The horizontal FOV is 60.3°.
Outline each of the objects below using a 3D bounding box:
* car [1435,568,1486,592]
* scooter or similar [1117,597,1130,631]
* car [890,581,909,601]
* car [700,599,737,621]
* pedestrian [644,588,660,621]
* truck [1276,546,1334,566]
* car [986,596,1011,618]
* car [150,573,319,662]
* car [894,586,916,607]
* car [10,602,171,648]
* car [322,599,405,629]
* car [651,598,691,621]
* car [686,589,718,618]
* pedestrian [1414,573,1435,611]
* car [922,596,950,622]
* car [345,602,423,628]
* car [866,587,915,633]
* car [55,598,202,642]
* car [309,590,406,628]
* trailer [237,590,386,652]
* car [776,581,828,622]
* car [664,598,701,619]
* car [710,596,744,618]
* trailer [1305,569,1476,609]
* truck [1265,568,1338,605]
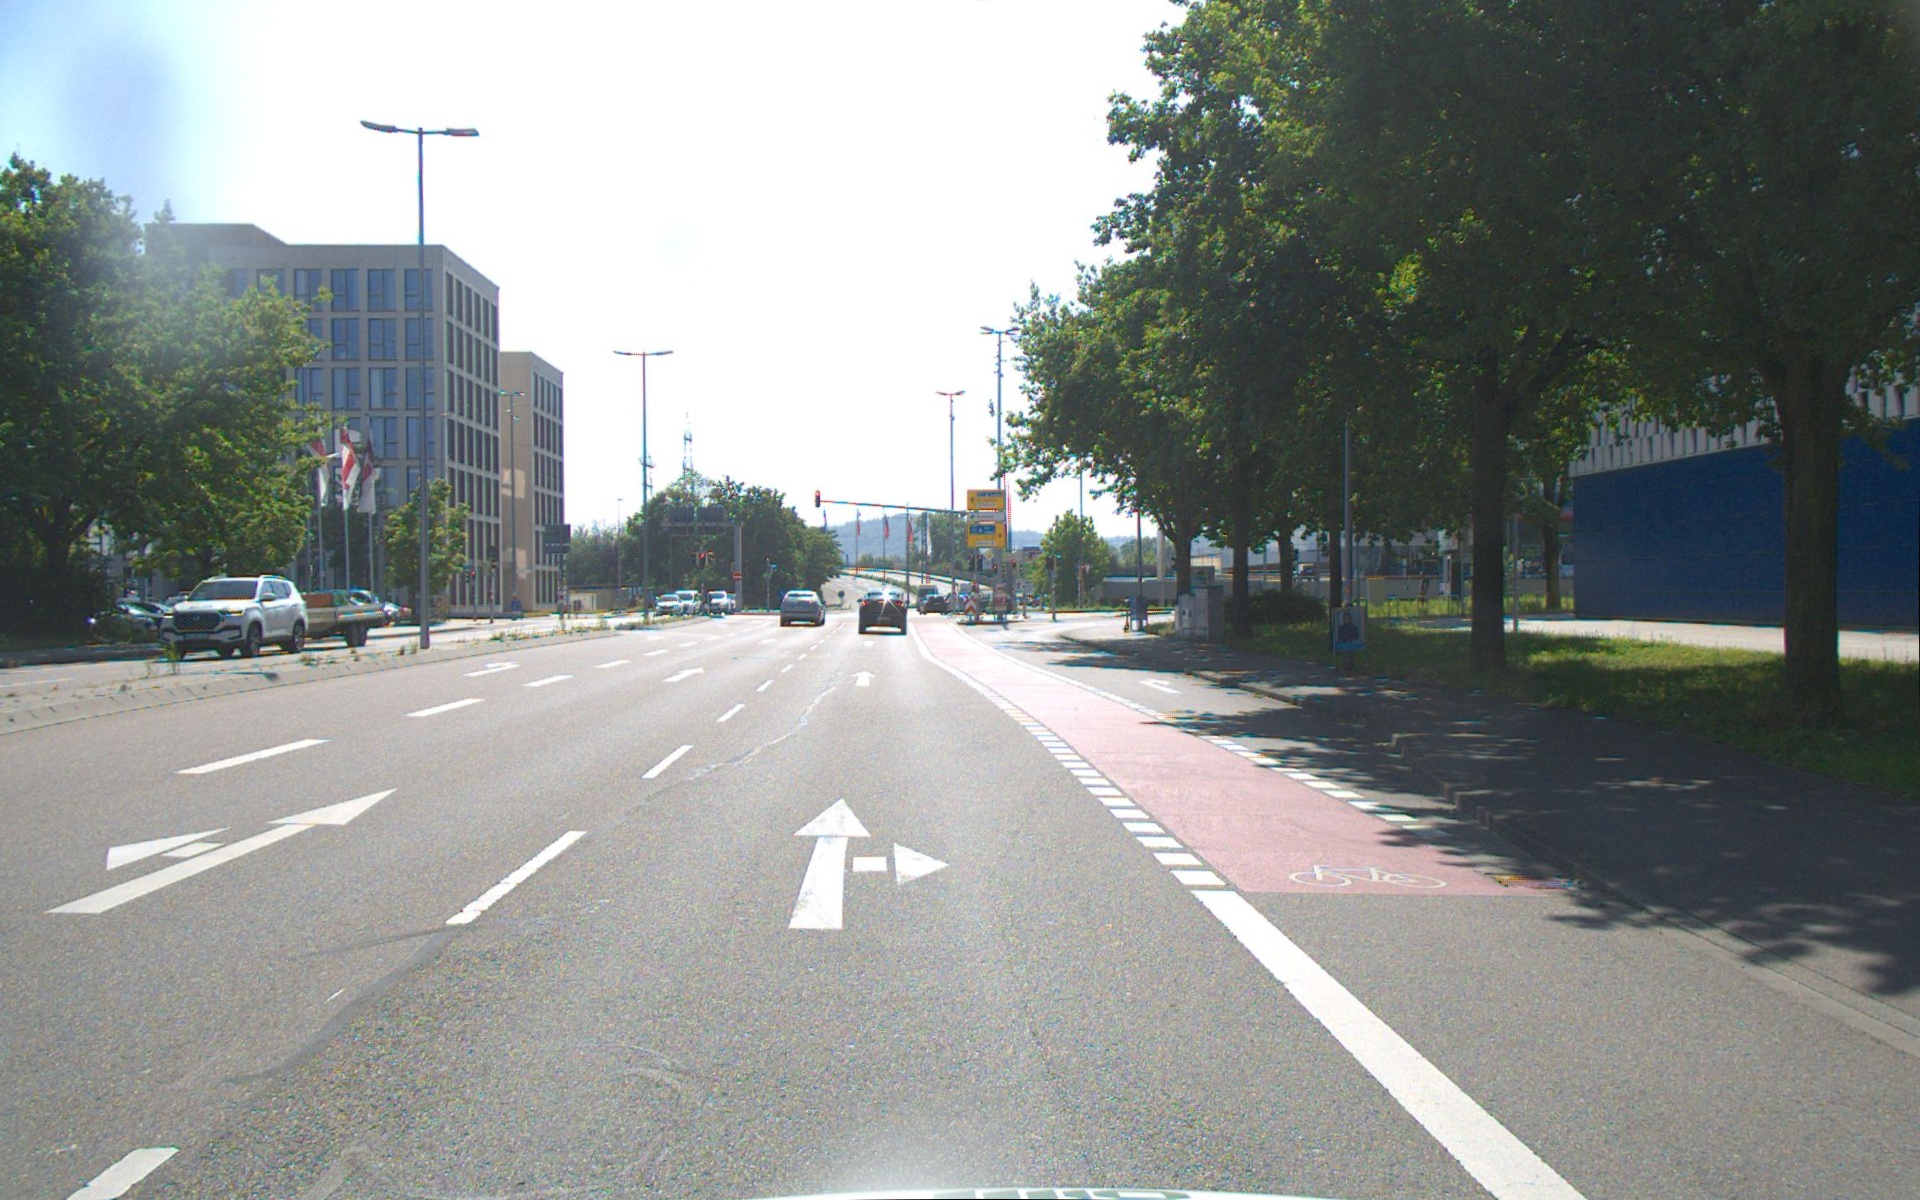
[{"bbox_3d":[45.444,-1.851,150.218,3.908,2.048,1.999,2,1,-4],"label":"car"},{"bbox_3d":[6.285,0.526,63.411,0.343,1.255,1.312,-1,0,11],"label":"scooter or similar"},{"bbox_3d":[-6.691,-1.024,182.570,1.953,2.048,3.980,2,1,-2],"label":"car"},{"bbox_3d":[-16.685,0.672,114.456,1.778,1.489,4.001,-1,0,2],"label":"car"},{"bbox_3d":[-19.775,0.270,106.059,0.747,2.048,0.926,1,1,-27],"label":"pedestrian"},{"bbox_3d":[37.534,-4.769,180.038,5.788,2.048,2.000,2,1,0],"label":"truck"},{"bbox_3d":[2.684,0.469,116.192,1.654,1.382,4.000,2,1,0],"label":"car"},{"bbox_3d":[-16.467,0.362,37.834,1.954,1.864,4.933,-1,0,-4],"label":"car"},{"bbox_3d":[-5.798,-0.410,174.837,1.952,2.048,4.002,2,1,3],"label":"car"},{"bbox_3d":[-27.790,0.793,52.964,4.067,1.366,1.999,-1,0,-3],"label":"car"},{"bbox_3d":[-28.684,0.681,79.579,3.342,1.366,1.645,-1,0,0],"label":"car"},{"bbox_3d":[-19.754,0.622,113.158,1.852,1.489,4.001,-1,0,2],"label":"car"},{"bbox_3d":[-13.005,0.157,83.507,1.190,1.354,2.799,2,1,0],"label":"car"},{"bbox_3d":[22.274,-0.363,79.354,0.616,1.801,0.803,-1,0,-13],"label":"pedestrian"},{"bbox_3d":[-1.760,0.648,120.942,1.723,1.789,3.600,1,1,-5],"label":"car"},{"bbox_3d":[-34.071,0.890,97.973,3.906,1.489,2.000,-1,0,-1],"label":"car"},{"bbox_3d":[-2.659,0.351,63.419,1.771,1.668,4.457,-1,0,-2],"label":"car"},{"bbox_3d":[-27.896,0.663,55.598,3.907,1.366,1.999,-1,0,-3],"label":"car"},{"bbox_3d":[-34.438,0.482,94.623,4.814,2.086,2.000,-1,0,-1],"label":"car"},{"bbox_3d":[-16.816,0.504,43.235,1.954,1.478,5.767,-1,0,-4],"label":"trailer"},{"bbox_3d":[-6.956,0.053,73.007,1.953,1.713,3.999,-1,0,-1],"label":"car"},{"bbox_3d":[-20.215,0.592,120.637,1.778,1.489,4.001,-1,0,2],"label":"car"},{"bbox_3d":[-17.089,0.505,121.417,1.778,1.489,4.001,-1,0,2],"label":"car"},{"bbox_3d":[30.723,-0.785,118.191,11.625,2.512,2.001,2,1,2],"label":"trailer"},{"bbox_3d":[24.426,-0.947,118.357,4.779,2.466,2.001,2,1,2],"label":"truck"}]
